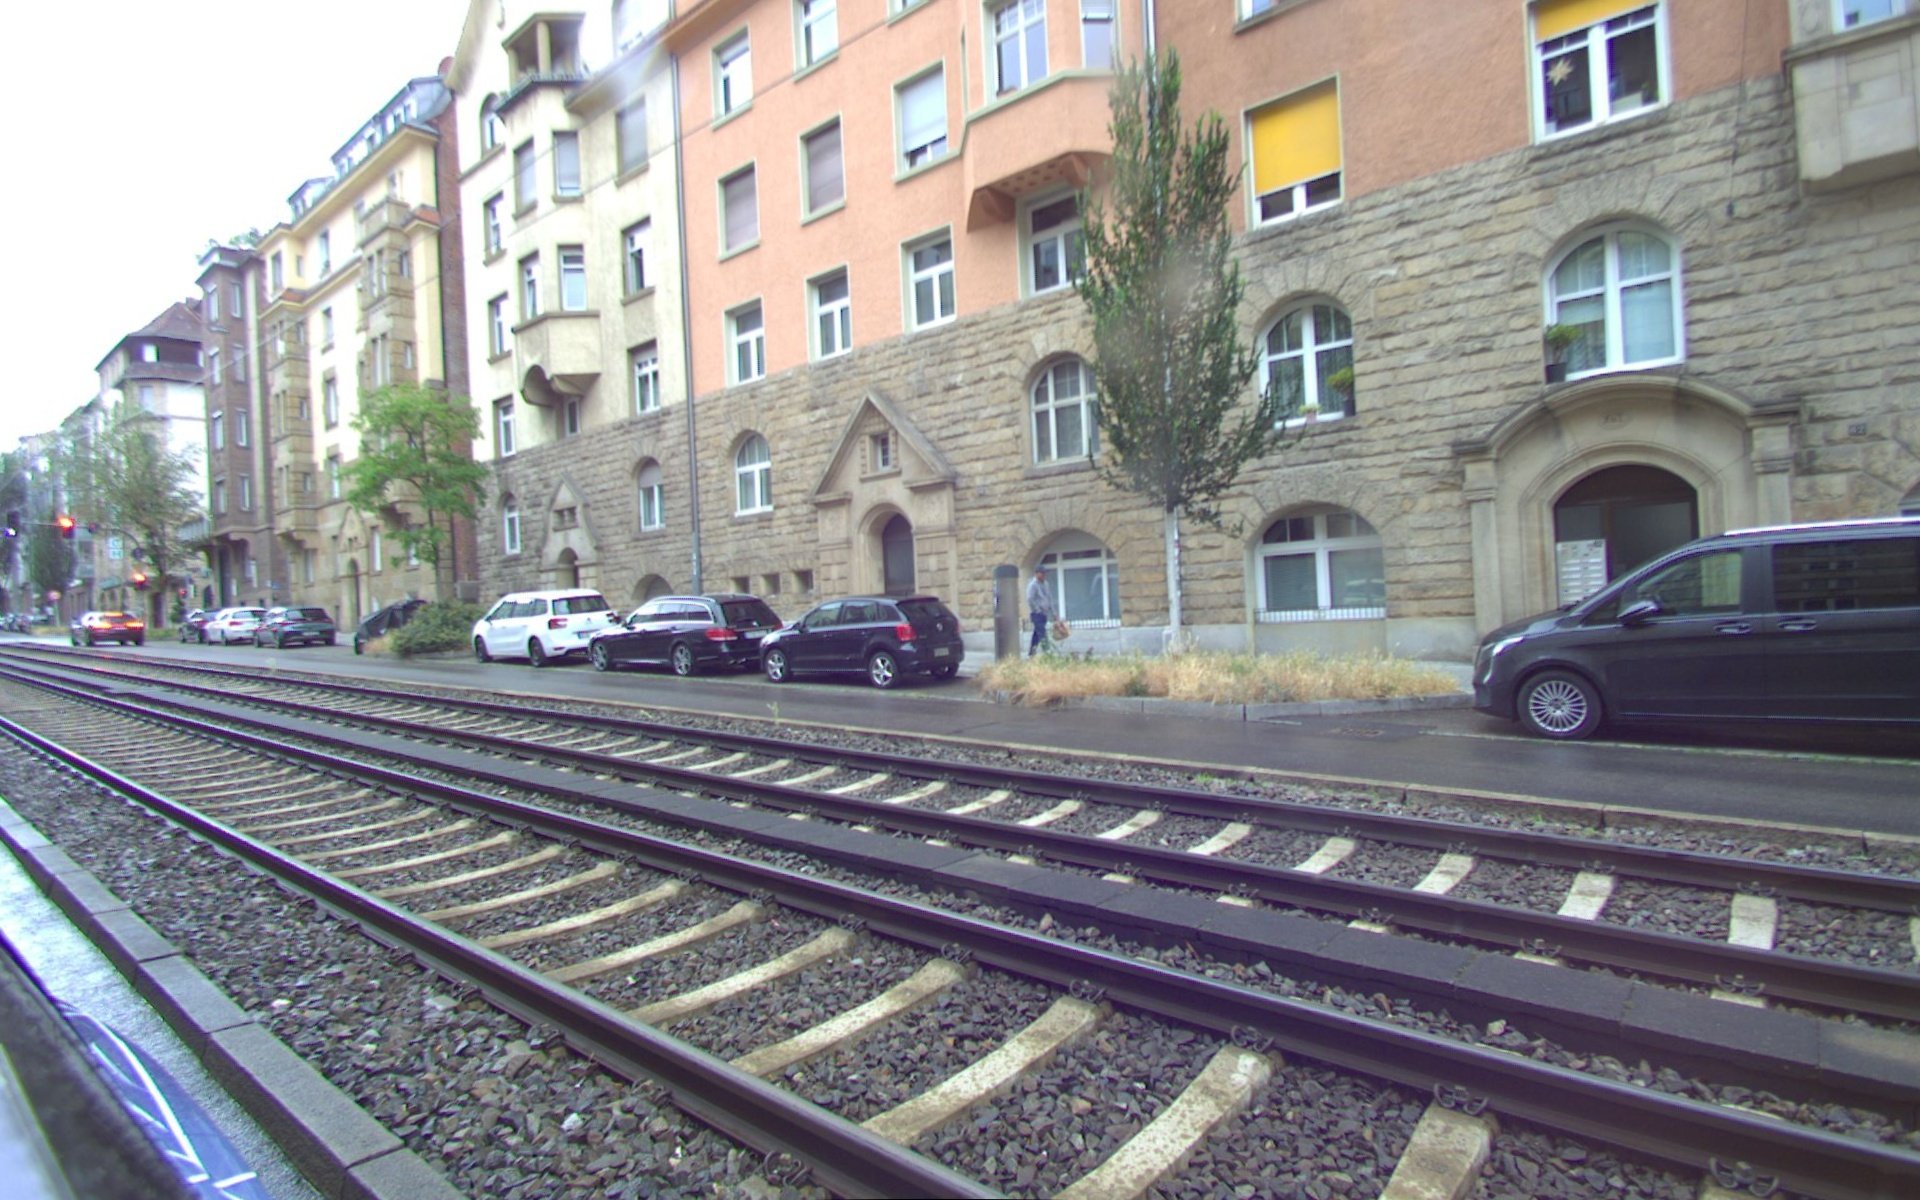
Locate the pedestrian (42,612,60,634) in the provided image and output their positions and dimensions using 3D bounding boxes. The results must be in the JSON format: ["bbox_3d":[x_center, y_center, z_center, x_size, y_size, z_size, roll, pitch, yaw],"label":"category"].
[{"bbox_3d":[-80.236,2.028,89.339,1.163,1.972,1.042,-1,0,43],"label":"pedestrian"}]

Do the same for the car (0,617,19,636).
[{"bbox_3d":[-80.928,2.274,85.425,3.843,1.527,1.748,-1,0,41],"label":"car"}]

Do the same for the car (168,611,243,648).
[{"bbox_3d":[-32.153,1.256,43.100,3.843,1.452,1.748,-1,0,41],"label":"car"}]

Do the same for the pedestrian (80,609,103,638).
[{"bbox_3d":[-59.683,1.610,69.552,1.163,1.972,1.042,-1,0,43],"label":"pedestrian"}]

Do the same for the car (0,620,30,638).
[{"bbox_3d":[-74.301,2.267,79.352,3.843,1.321,1.563,-1,0,41],"label":"car"}]

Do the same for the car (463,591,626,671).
[{"bbox_3d":[-9.754,0.695,23.626,4.144,1.668,1.843,-1,0,41],"label":"car"}]

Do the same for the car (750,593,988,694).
[{"bbox_3d":[-1.565,0.663,16.932,3.638,1.508,1.912,-1,0,38],"label":"car"}]

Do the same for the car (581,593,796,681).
[{"bbox_3d":[-5.446,0.691,19.953,4.599,1.506,1.824,-1,0,41],"label":"car"}]

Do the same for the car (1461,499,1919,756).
[{"bbox_3d":[7.338,0.210,8.997,4.823,1.956,1.973,-1,0,41],"label":"car"}]

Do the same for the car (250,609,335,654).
[{"bbox_3d":[-23.693,1.087,35.874,3.845,1.452,1.656,-1,1,43],"label":"car"}]

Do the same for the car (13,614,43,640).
[{"bbox_3d":[-69.052,1.978,74.987,1.561,1.691,3.794,-2,2,-43],"label":"car"}]

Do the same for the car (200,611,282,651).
[{"bbox_3d":[-28.295,1.202,39.777,4.030,1.452,1.748,-1,1,42],"label":"car"}]

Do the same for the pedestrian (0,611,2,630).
[{"bbox_3d":[-102.454,2.231,107.191,1.379,1.972,1.362,-1,0,43],"label":"pedestrian"}]

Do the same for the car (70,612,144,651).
[{"bbox_3d":[-36.431,1.338,43.161,4.964,1.535,1.784,-1,0,43],"label":"car"}]

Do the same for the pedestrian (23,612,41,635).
[{"bbox_3d":[-81.044,2.037,88.390,1.163,1.972,1.042,-1,0,43],"label":"pedestrian"}]

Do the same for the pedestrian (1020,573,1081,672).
[{"bbox_3d":[1.556,0.381,17.408,0.765,1.654,0.692,-1,0,41],"label":"pedestrian"}]
